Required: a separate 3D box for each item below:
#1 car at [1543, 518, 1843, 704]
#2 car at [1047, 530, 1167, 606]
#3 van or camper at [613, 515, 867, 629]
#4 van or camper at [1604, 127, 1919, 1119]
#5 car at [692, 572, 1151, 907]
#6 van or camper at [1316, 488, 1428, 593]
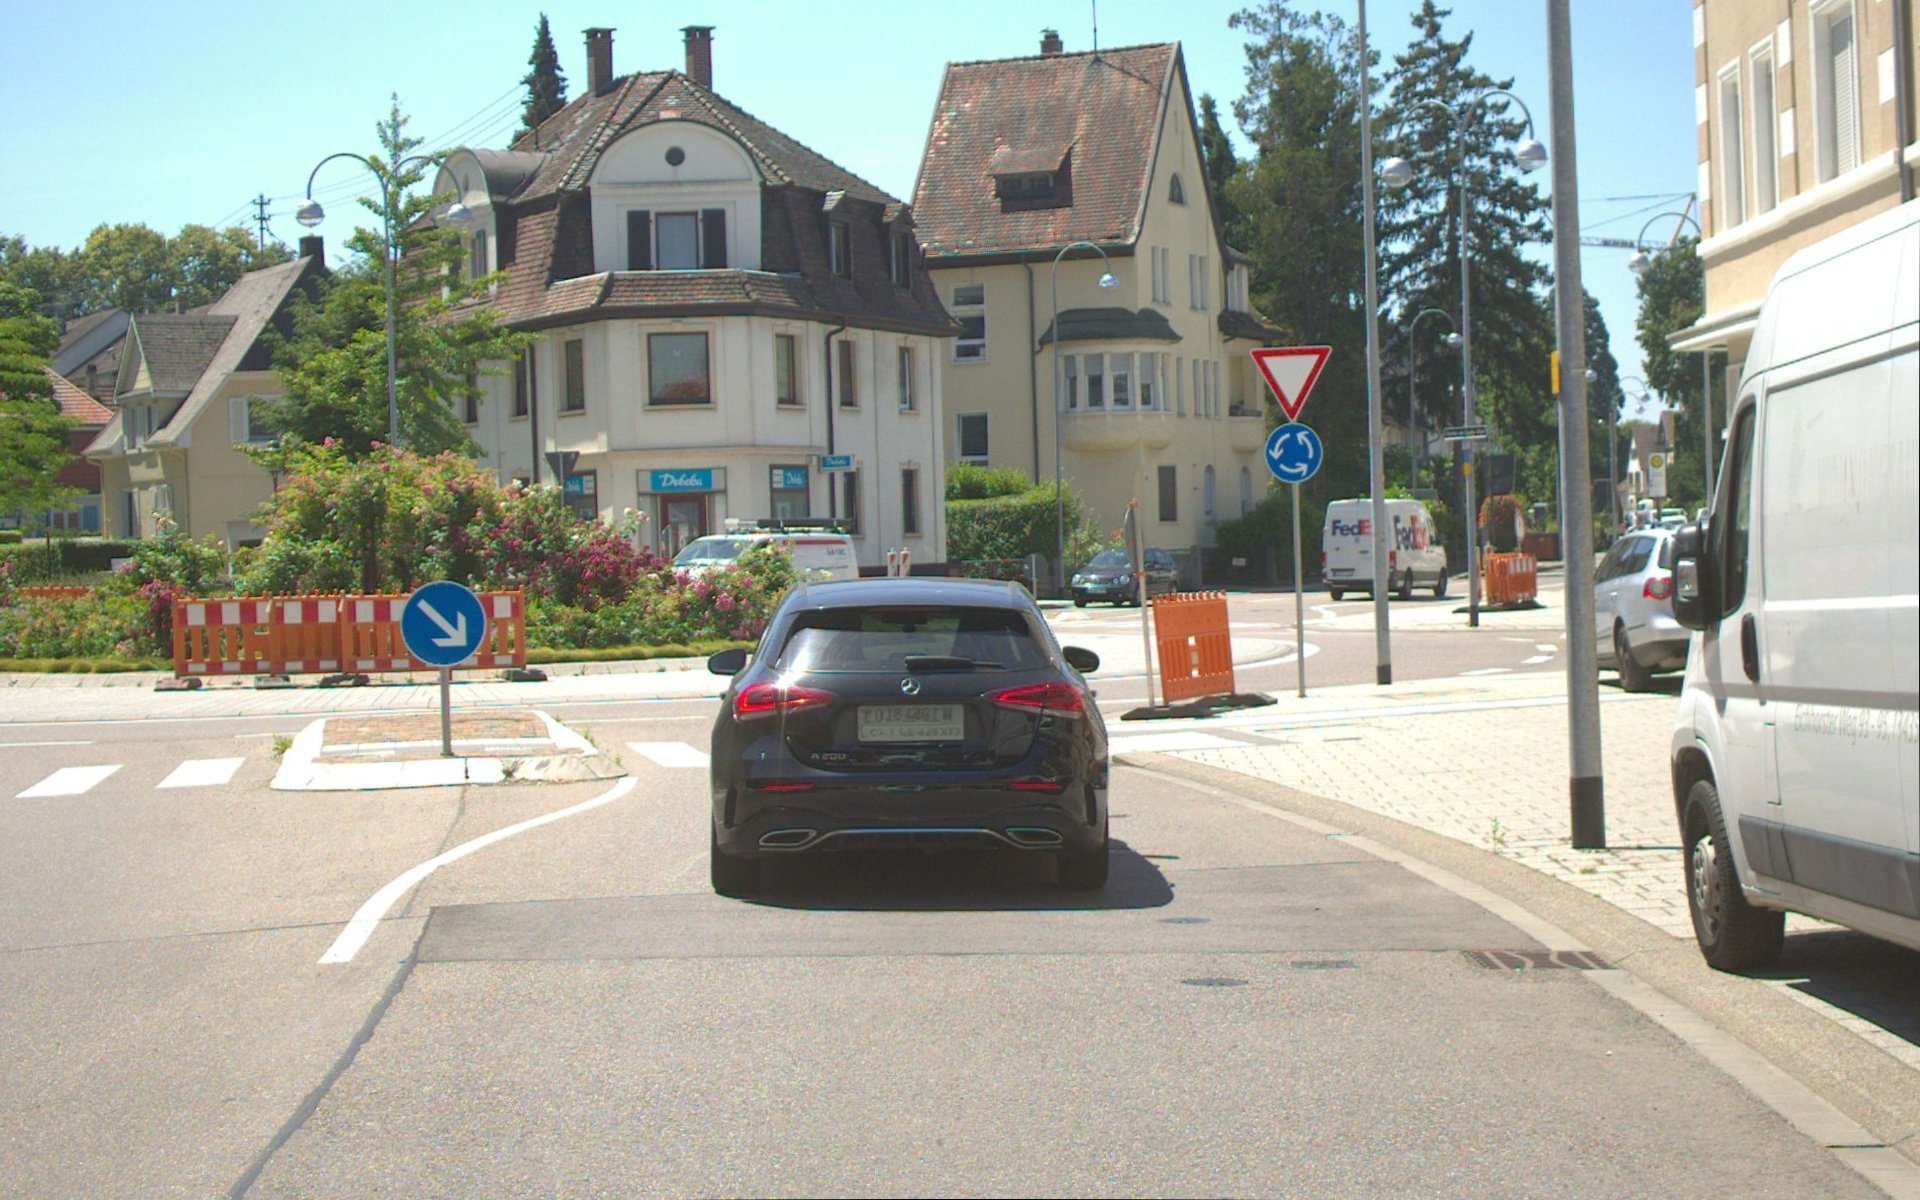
[{"bbox_3d":[6.731,0.068,32.062,1.764,1.525,4.690,-3,1,0],"label":"car"},{"bbox_3d":[3.600,-0.786,83.391,1.922,1.766,3.997,1,1,18],"label":"car"},{"bbox_3d":[-4.291,-0.555,67.940,1.998,2.164,5.401,0,0,36],"label":"van or camper"},{"bbox_3d":[3.556,0.028,9.869,2.165,2.580,5.766,-3,1,-1],"label":"van or camper"},{"bbox_3d":[-0.222,0.595,16.718,1.953,1.422,4.000,0,0,-2],"label":"car"},{"bbox_3d":[10.624,-1.524,88.451,2.207,2.602,3.997,-1,1,16],"label":"van or camper"}]
